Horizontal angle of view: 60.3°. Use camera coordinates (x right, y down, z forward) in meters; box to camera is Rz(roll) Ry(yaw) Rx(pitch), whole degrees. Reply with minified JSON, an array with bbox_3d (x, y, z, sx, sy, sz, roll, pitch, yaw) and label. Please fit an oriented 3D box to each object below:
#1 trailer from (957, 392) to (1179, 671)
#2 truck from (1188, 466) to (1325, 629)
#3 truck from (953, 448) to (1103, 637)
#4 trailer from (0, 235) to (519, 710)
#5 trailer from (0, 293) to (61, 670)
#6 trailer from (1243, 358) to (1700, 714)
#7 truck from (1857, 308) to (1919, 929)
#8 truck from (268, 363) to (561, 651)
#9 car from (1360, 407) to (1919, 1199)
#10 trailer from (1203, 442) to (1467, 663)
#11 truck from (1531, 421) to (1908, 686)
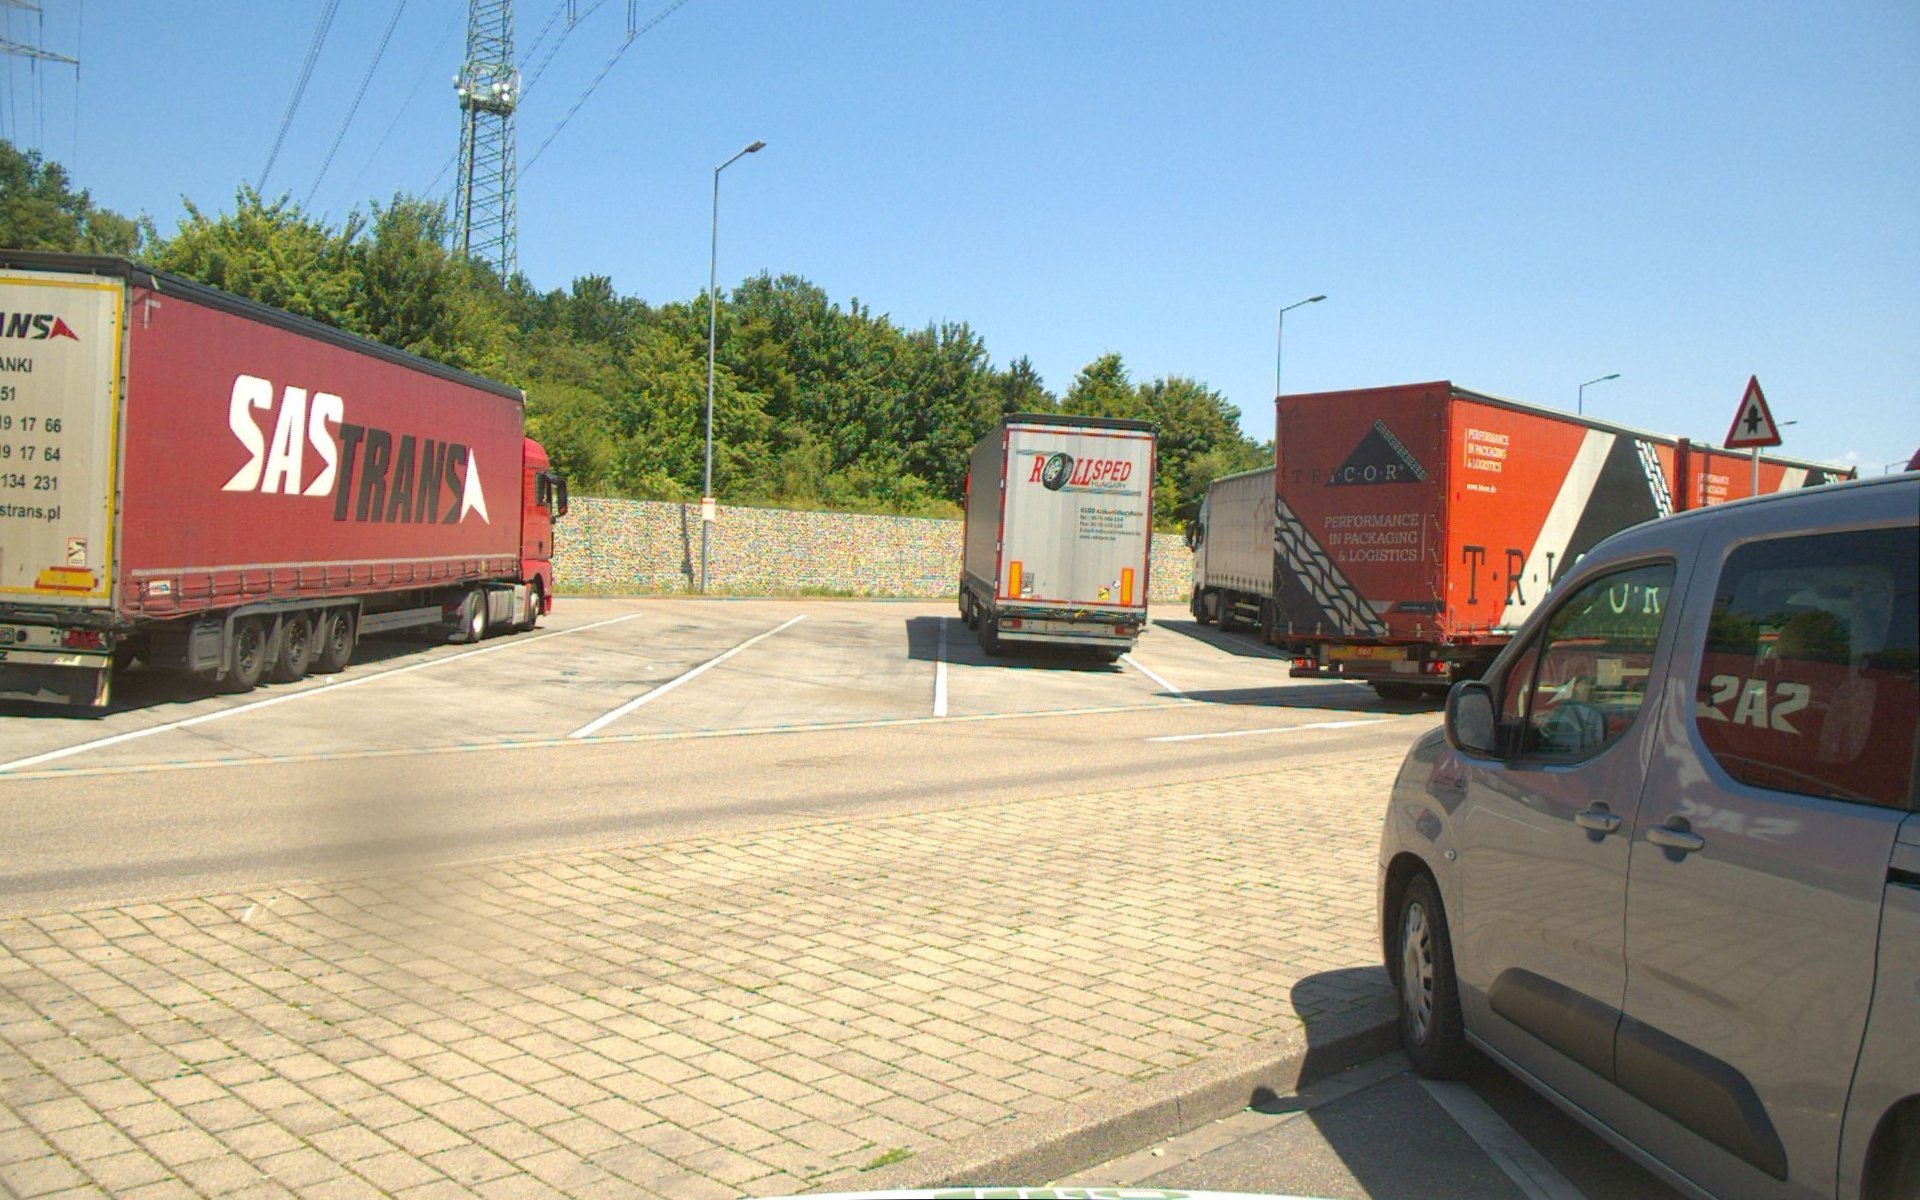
[{"bbox_3d":[1.701,-1.315,32.659,3.008,4.301,12.805,2,2,-2],"label":"trailer"},{"bbox_3d":[8.076,-1.411,45.589,2.701,4.196,5.283,1,1,-1],"label":"truck"},{"bbox_3d":[1.469,-1.381,39.425,2.965,3.997,6.845,2,2,-2],"label":"truck"},{"bbox_3d":[-8.680,-1.263,21.100,2.694,4.128,13.285,1,1,-1],"label":"trailer"},{"bbox_3d":[-12.409,-1.313,15.430,2.689,4.337,9.733,1,1,0],"label":"trailer"},{"bbox_3d":[7.779,-0.822,24.221,2.795,4.332,8.625,2,1,44],"label":"trailer"},{"bbox_3d":[4.978,0.132,4.917,1.952,2.669,5.305,1,1,3],"label":"truck"},{"bbox_3d":[-8.773,-1.424,27.521,2.687,4.152,6.828,1,1,-1],"label":"truck"},{"bbox_3d":[2.432,0.559,3.797,1.790,1.784,3.997,1,1,-4],"label":"car"},{"bbox_3d":[8.208,-1.049,38.590,2.818,4.196,13.569,1,1,-1],"label":"trailer"},{"bbox_3d":[14.484,-0.783,30.896,10.520,4.199,2.651,0,1,-44],"label":"truck"}]
